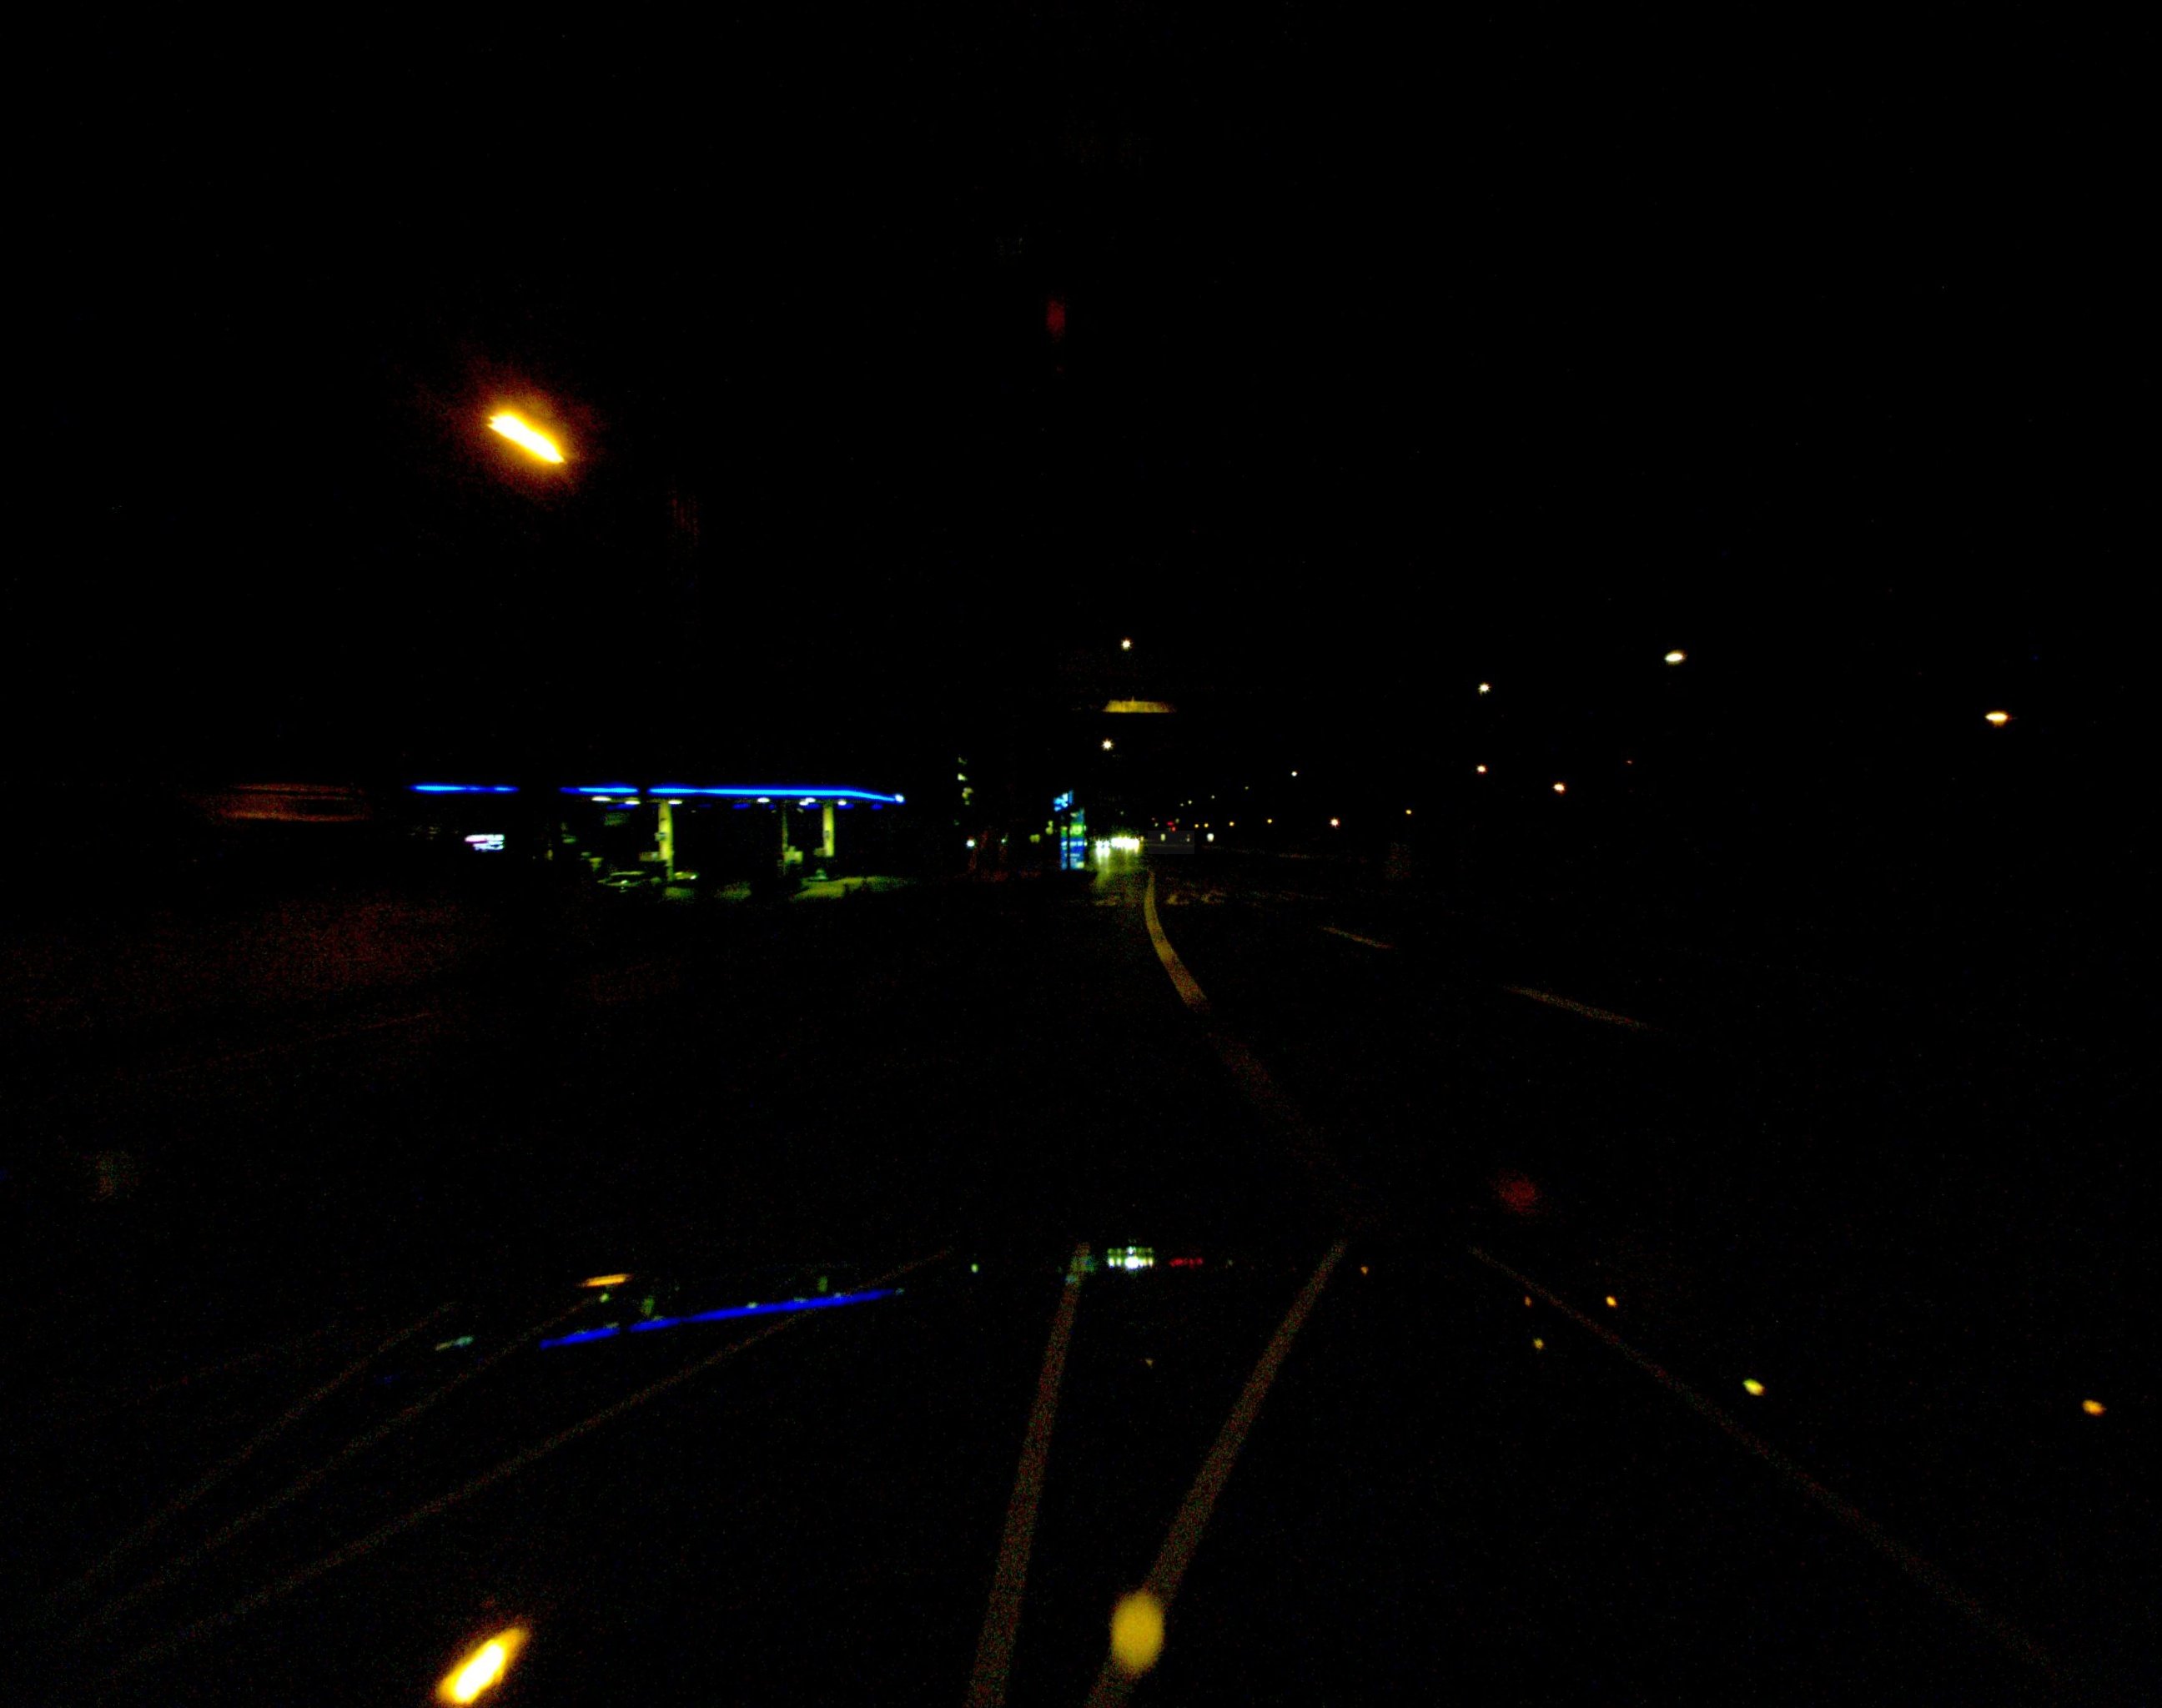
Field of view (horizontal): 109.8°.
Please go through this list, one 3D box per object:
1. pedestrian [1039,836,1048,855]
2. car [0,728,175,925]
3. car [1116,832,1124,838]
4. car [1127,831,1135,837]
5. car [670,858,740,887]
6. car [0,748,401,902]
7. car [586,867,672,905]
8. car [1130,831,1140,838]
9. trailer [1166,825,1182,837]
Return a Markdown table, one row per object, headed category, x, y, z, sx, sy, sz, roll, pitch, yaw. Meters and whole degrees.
| category | x | y | z | sx | sy | sz | roll | pitch | yaw |
| --- | --- | --- | --- | --- | --- | --- | --- | --- | --- |
| pedestrian | -3.918 | -0.911 | 79.462 | 0.806 | 1.903 | 0.794 | 2 | 2 | 10 |
| car | -10.534 | -0.282 | 6.297 | 3.996 | 1.562 | 1.738 | 2 | 3 | 2 |
| car | 10.949 | -5.318 | 214.014 | 1.991 | 1.473 | 4.202 | 1 | 2 | 1 |
| car | 13.391 | -5.338 | 202.875 | 1.991 | 1.473 | 4.202 | 1 | 2 | 1 |
| car | -20.919 | 0.996 | 42.488 | 1.932 | 1.355 | 4.332 | -1 | 2 | -4 |
| car | -10.636 | -0.360 | 8.666 | 4.129 | 1.514 | 1.822 | 1 | 3 | 2 |
| car | -19.986 | 1.362 | 33.783 | 1.658 | 1.351 | 4.065 | -2 | 2 | -5 |
| car | 12.545 | -4.524 | 176.843 | 1.991 | 1.473 | 4.202 | 1 | 2 | 1 |
| trailer | 31.028 | -7.766 | 253.118 | 3.707 | 3.968 | 8.388 | -2 | 2 | -5 |
